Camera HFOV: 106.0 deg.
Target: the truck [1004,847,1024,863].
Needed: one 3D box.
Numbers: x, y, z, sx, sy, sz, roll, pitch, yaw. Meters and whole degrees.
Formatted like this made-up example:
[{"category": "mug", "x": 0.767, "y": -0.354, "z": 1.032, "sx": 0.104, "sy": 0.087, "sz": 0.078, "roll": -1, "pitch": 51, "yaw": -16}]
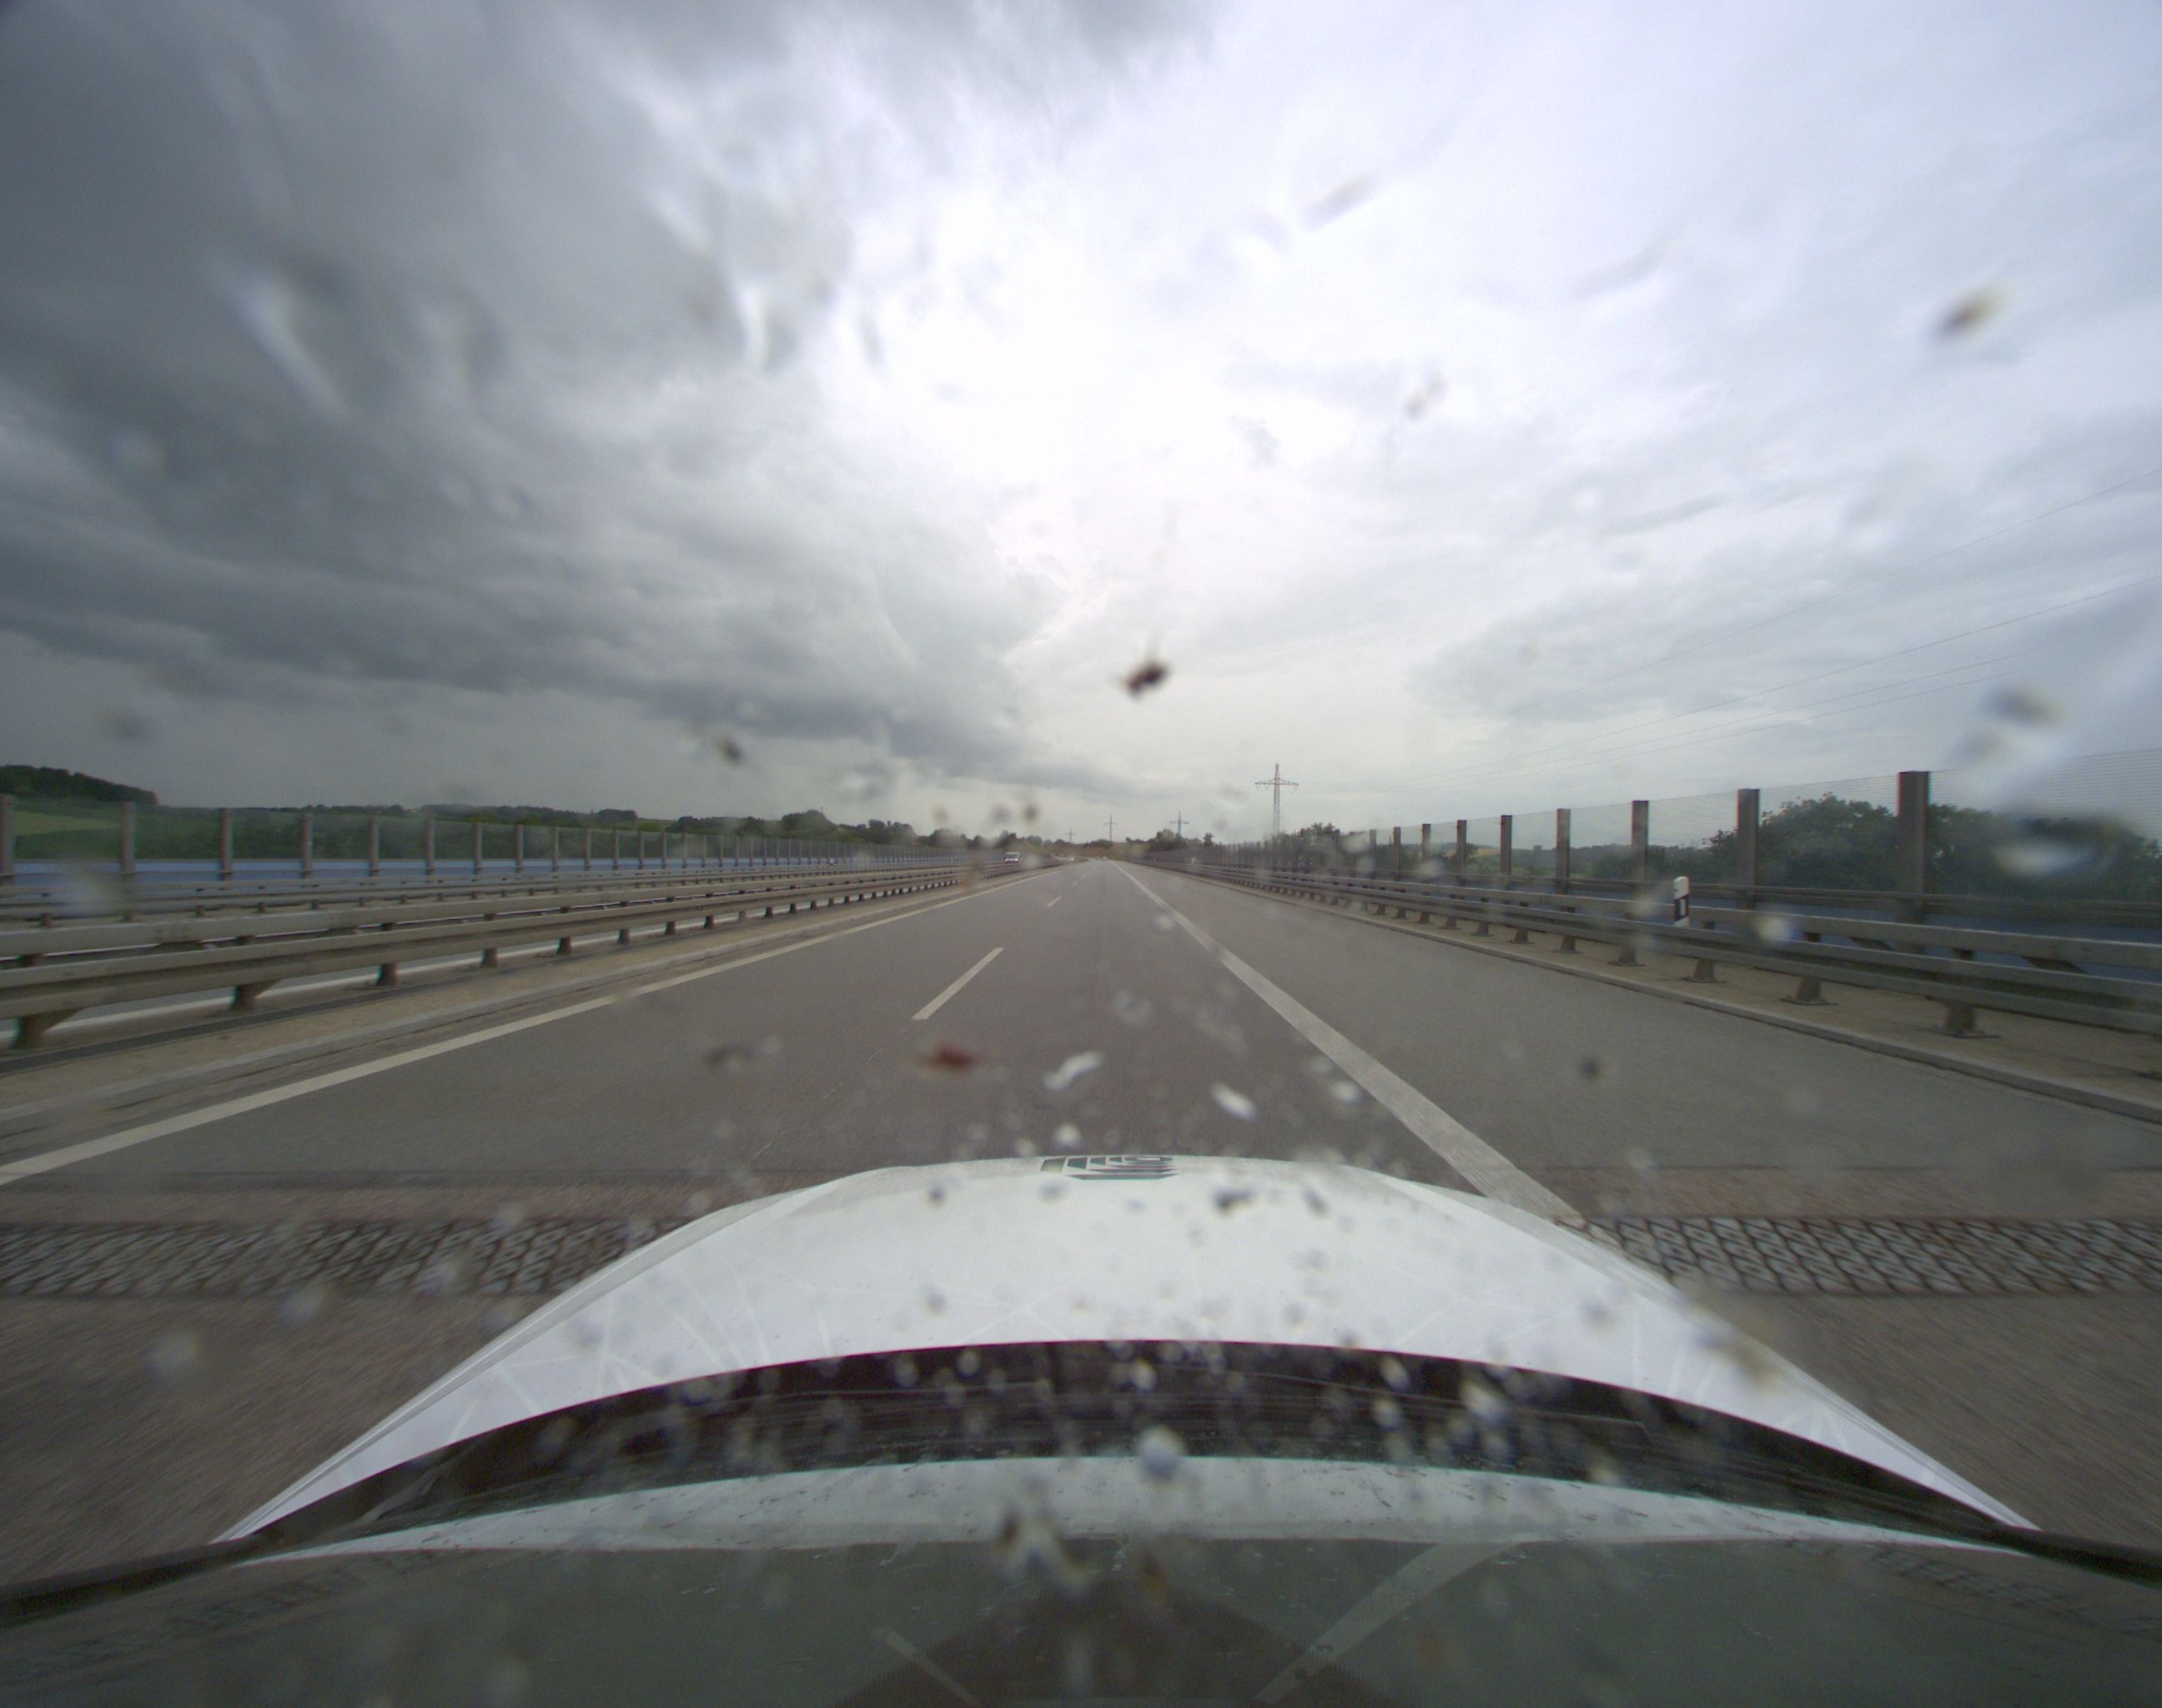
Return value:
[{"category": "truck", "x": -10.348, "y": 0.166, "z": 125.958, "sx": 2.264, "sy": 2.431, "sz": 7.455, "roll": 0, "pitch": 0, "yaw": 2}]
